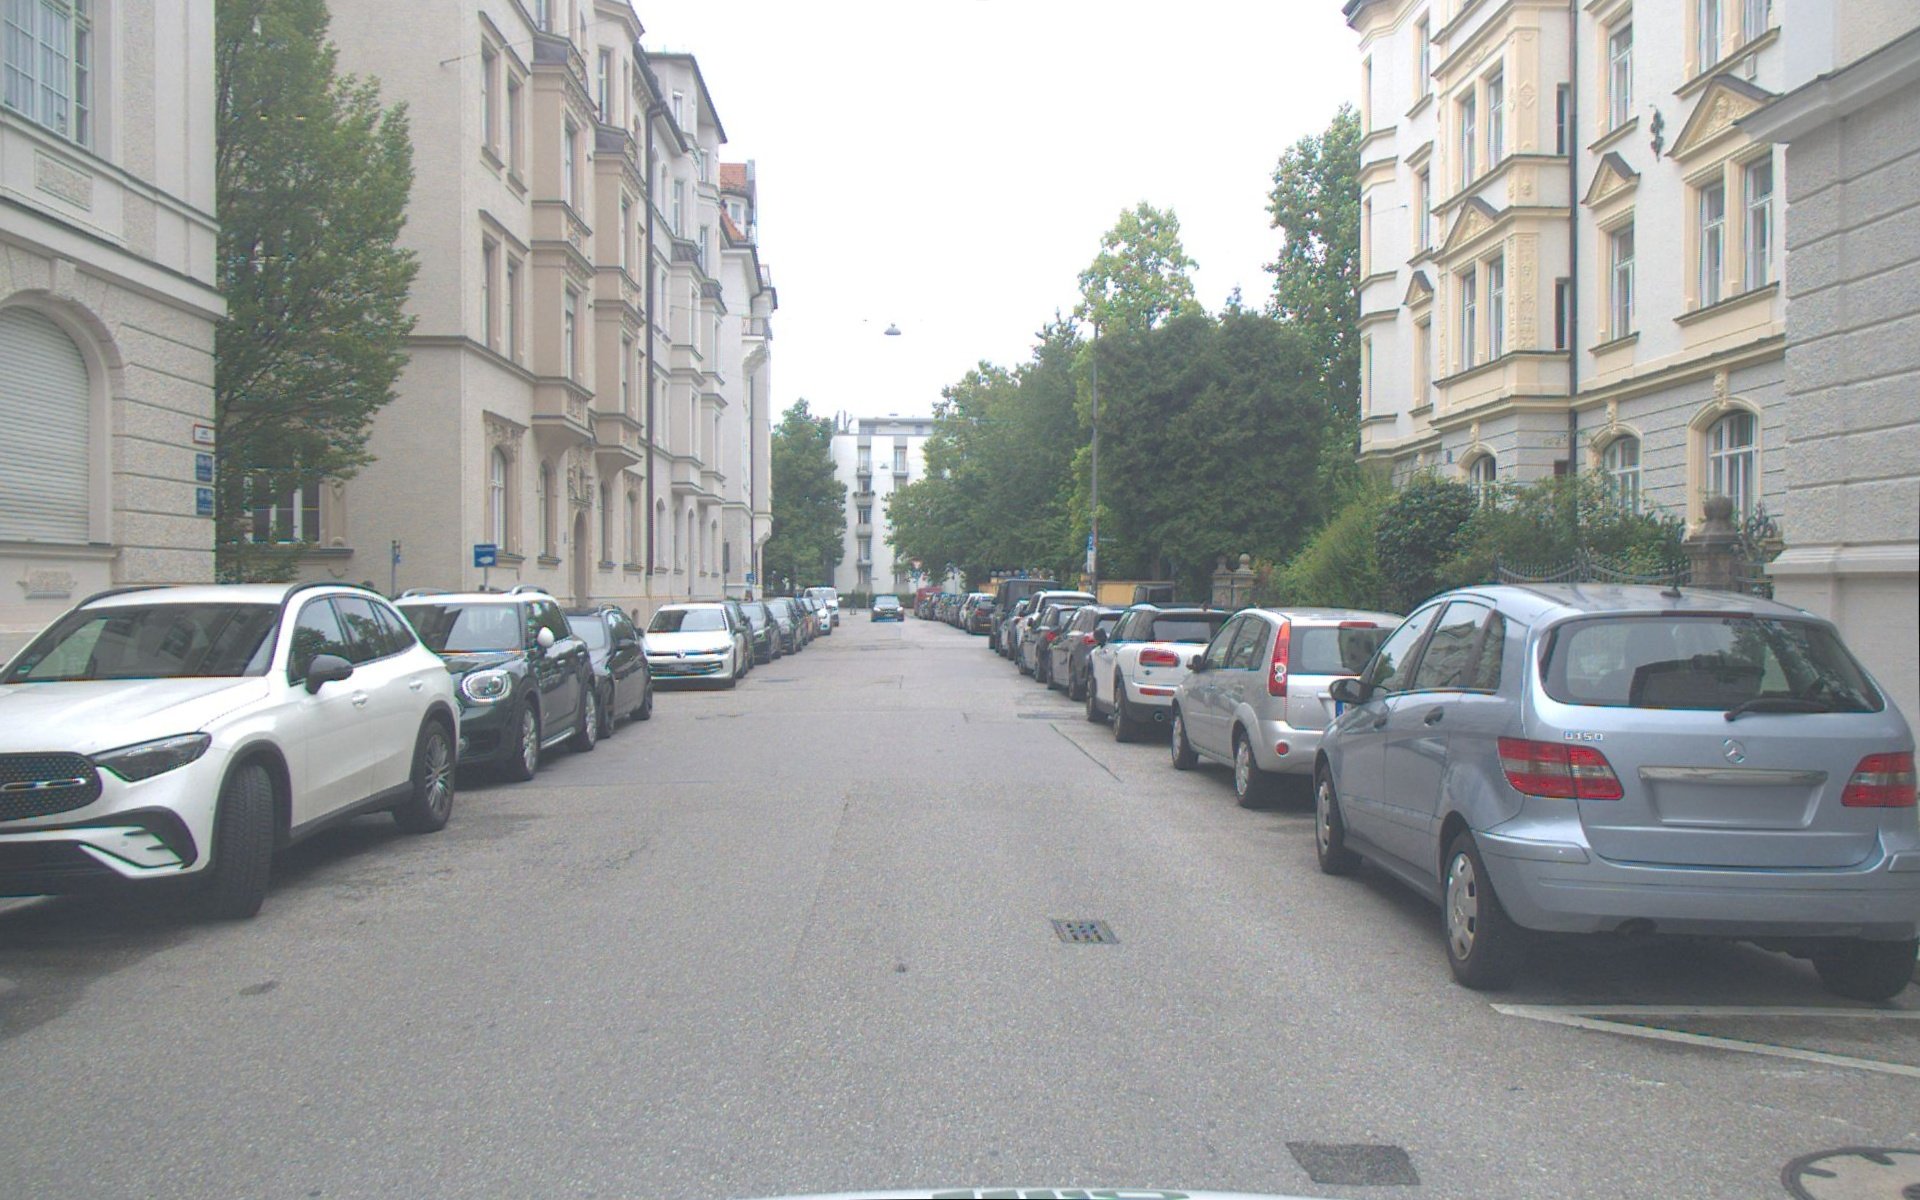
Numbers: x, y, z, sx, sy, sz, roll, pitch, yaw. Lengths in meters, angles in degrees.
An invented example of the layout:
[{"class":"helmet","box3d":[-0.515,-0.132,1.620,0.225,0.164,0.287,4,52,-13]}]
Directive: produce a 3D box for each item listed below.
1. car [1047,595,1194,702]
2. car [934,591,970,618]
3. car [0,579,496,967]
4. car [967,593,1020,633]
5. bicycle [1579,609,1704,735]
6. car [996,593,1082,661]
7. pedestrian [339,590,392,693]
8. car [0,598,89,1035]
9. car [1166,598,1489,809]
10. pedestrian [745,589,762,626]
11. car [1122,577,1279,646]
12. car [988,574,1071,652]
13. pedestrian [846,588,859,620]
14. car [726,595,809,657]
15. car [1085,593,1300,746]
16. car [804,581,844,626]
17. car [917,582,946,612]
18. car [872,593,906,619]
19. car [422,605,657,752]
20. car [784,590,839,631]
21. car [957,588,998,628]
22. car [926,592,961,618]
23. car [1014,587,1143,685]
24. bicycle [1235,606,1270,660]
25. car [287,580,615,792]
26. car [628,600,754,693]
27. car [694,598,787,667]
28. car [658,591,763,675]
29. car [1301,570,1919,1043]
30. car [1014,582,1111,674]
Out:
[{"class":"car","box3d":[2.456,0.701,26.154,1.650,1.530,4.015,1,0,-4]},{"class":"car","box3d":[-0.505,0.256,98.243,1.803,1.545,3.943,1,0,-5]},{"class":"car","box3d":[-4.157,0.707,9.312,1.876,1.647,4.570,0,1,-1]},{"class":"car","box3d":[1.271,0.489,63.666,1.801,1.438,4.341,1,0,-2]},{"class":"bicycle","box3d":[6.699,0.672,16.344,0.425,1.145,1.881,0,0,-1]},{"class":"car","box3d":[1.913,0.637,40.885,1.689,1.545,3.628,3,0,-4]},{"class":"pedestrian","box3d":[-9.698,0.666,26.991,0.660,1.654,0.630,0,0,-5]},{"class":"car","box3d":[-4.222,0.818,4.448,1.748,1.568,4.253,-2,0,-5]},{"class":"car","box3d":[2.782,0.721,13.255,1.719,1.431,3.450,1,0,-2]},{"class":"pedestrian","box3d":[-9.716,0.344,77.782,0.777,1.708,0.699,0,0,-10]},{"class":"car","box3d":[7.389,0.343,50.989,4.444,1.984,1.900,-1,2,-8]},{"class":"car","box3d":[1.870,0.312,45.906,1.911,1.988,4.664,1,1,-2]},{"class":"pedestrian","box3d":[-7.982,0.306,122.598,0.829,2.325,0.838,0,0,-18]},{"class":"car","box3d":[-5.206,0.673,45.233,1.799,1.460,4.244,-3,1,-1]},{"class":"car","box3d":[2.512,0.696,18.784,1.748,1.530,4.064,1,0,-2]},{"class":"car","box3d":[-6.900,0.153,84.429,1.849,2.164,4.703,-3,1,-4]},{"class":"car","box3d":[-1.944,-0.199,114.047,1.799,1.960,4.005,2,1,0]},{"class":"car","box3d":[-4.102,0.355,95.604,1.837,1.453,4.405,0,0,-4]},{"class":"car","box3d":[-4.711,0.806,19.159,1.751,1.437,4.365,0,1,-2]},{"class":"car","box3d":[-5.882,0.379,65.949,1.799,1.463,4.274,-3,1,-1]},{"class":"car","box3d":[0.767,0.349,73.755,1.484,1.690,3.671,1,0,-4]},{"class":"car","box3d":[-1.030,0.291,102.403,1.803,1.545,3.943,1,0,-5]},{"class":"car","box3d":[2.148,0.610,31.099,1.716,1.639,4.419,2,1,-5]},{"class":"bicycle","box3d":[6.210,0.689,35.191,0.445,1.118,1.313,0,0,-3]},{"class":"car","box3d":[-4.401,0.642,15.004,1.799,1.647,4.243,0,1,-2]},{"class":"car","box3d":[-4.837,0.791,30.289,1.800,1.459,4.242,-2,1,-3]},{"class":"car","box3d":[-5.220,0.729,39.775,1.797,1.459,4.551,-2,1,-3]},{"class":"car","box3d":[-5.201,0.642,34.923,1.735,1.544,4.382,-3,1,-4]},{"class":"car","box3d":[2.949,0.709,8.014,1.784,1.596,4.402,3,1,2]},{"class":"car","box3d":[2.168,0.580,36.067,1.688,1.800,4.412,2,0,-1]}]
